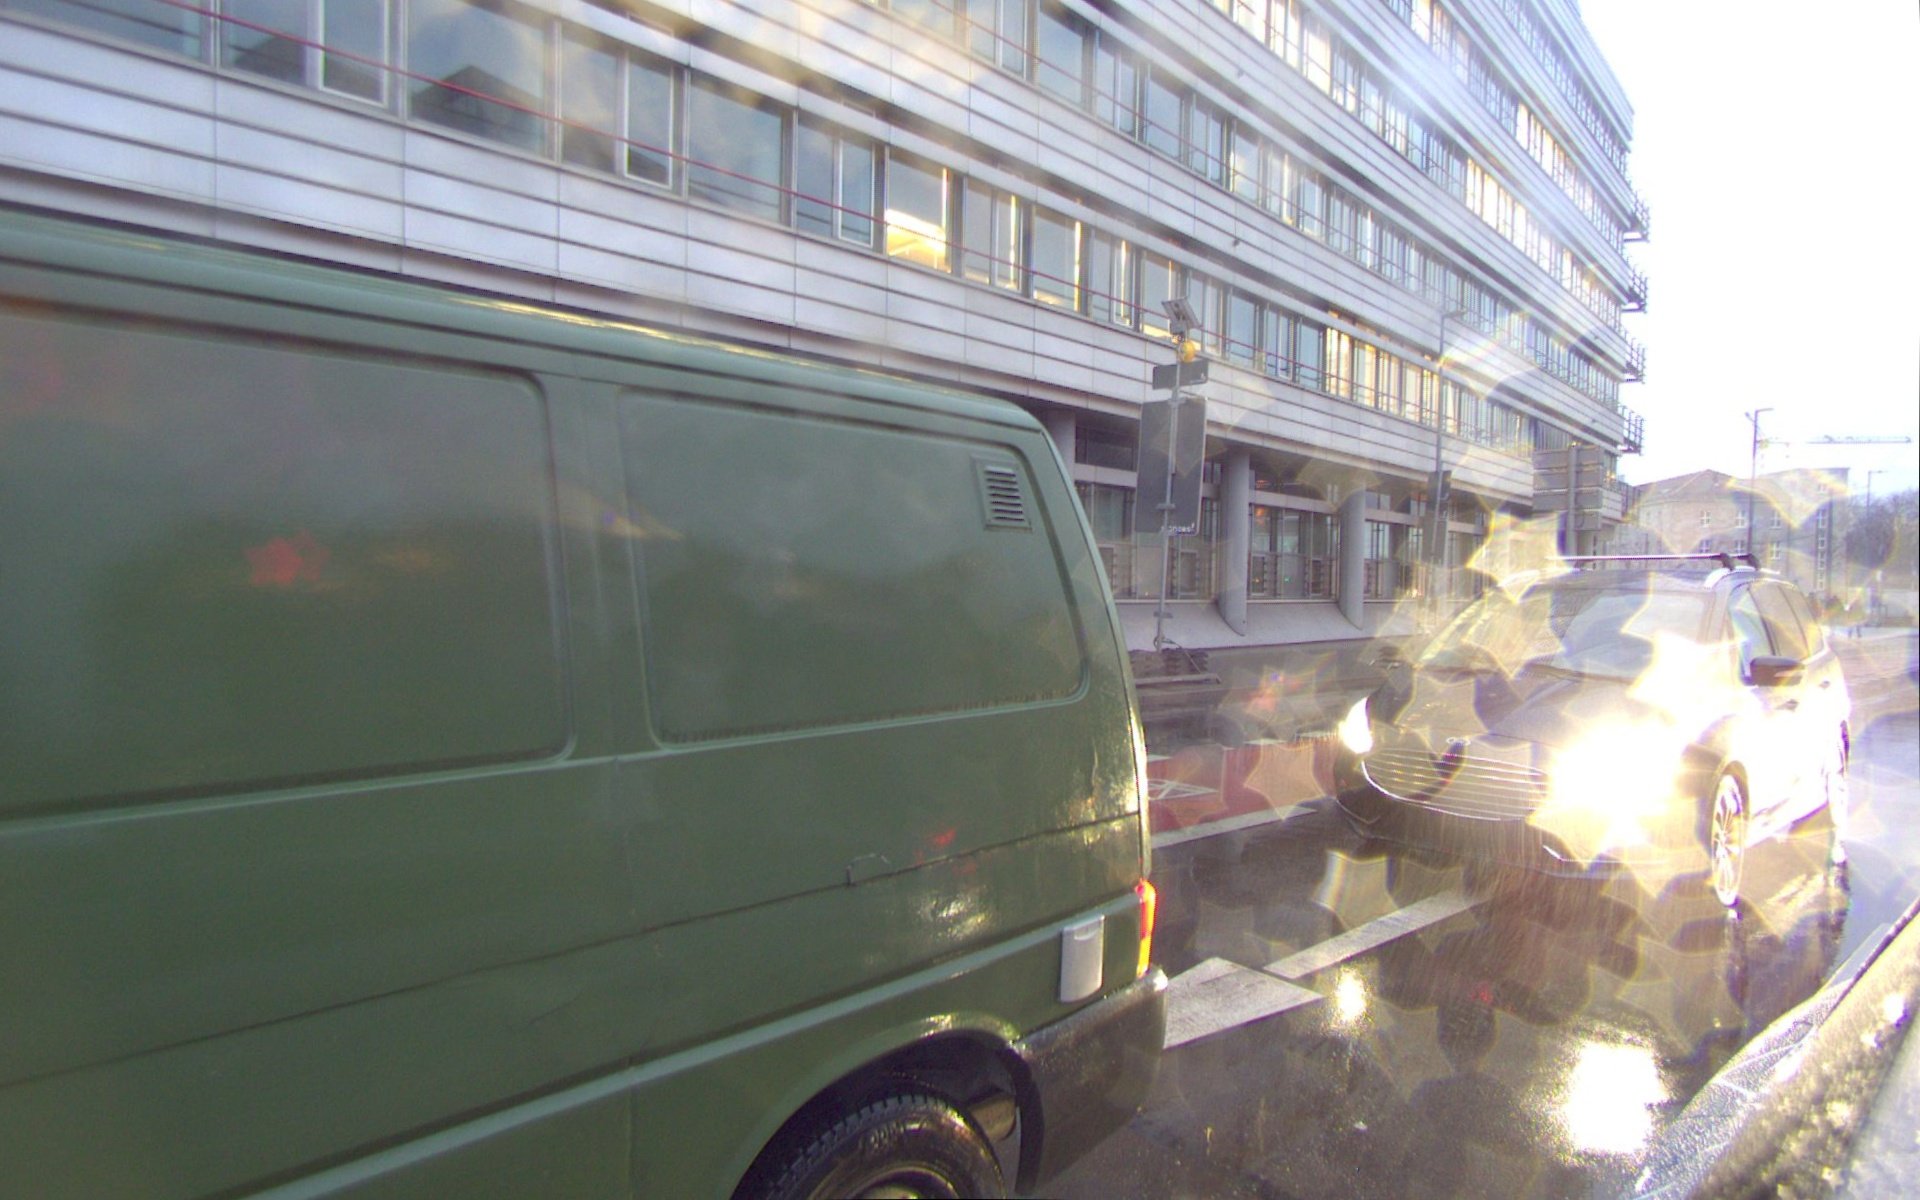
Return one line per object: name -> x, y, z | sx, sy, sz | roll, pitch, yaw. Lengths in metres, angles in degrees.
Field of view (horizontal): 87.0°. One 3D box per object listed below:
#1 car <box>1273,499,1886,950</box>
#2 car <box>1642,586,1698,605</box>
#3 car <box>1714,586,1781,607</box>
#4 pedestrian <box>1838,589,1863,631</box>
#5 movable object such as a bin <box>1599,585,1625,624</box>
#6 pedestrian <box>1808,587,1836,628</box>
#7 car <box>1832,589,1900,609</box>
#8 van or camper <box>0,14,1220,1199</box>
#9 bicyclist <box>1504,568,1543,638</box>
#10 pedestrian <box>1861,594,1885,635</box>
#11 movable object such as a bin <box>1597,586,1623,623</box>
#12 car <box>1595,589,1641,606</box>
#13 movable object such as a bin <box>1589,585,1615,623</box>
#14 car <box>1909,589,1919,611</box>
car -> 4.088, 0.498, 6.320 | 4.587, 1.834, 1.887 | 0, 0, -39
car -> 68.616, -0.447, 97.841 | 1.958, 1.693, 4.013 | 0, 1, -24
car -> 71.070, -0.348, 91.404 | 1.958, 1.782, 4.386 | 0, 1, -24
pedestrian -> 37.778, 0.404, 42.936 | 0.870, 1.723, 0.650 | 0, 3, -44
movable object such as a bin -> 26.072, 0.169, 40.458 | 0.826, 1.495, 0.665 | 0, 1, -44
pedestrian -> 37.559, 0.320, 44.102 | 0.953, 1.722, 0.746 | 0, 4, -44
car -> 74.295, -0.104, 83.056 | 1.743, 1.556, 3.775 | 1, 1, -24
van or camper -> -1.677, 0.453, 1.301 | 4.341, 1.931, 1.760 | 0, 0, -41
bicyclist -> 15.039, 0.060, 26.996 | 0.793, 1.820, 0.670 | 0, 1, -45
pedestrian -> 38.301, 0.601, 42.463 | 0.870, 1.689, 0.615 | 0, 3, -44
movable object such as a bin -> 25.498, 0.171, 39.724 | 0.826, 1.446, 0.665 | 0, 1, -44
car -> 74.302, -0.247, 114.324 | 1.774, 1.791, 4.009 | 1, 1, -21
movable object such as a bin -> 24.839, 0.156, 39.140 | 0.826, 1.446, 0.665 | 0, 1, -44
car -> 76.592, 0.072, 78.566 | 1.743, 1.730, 3.932 | 0, 1, -26
